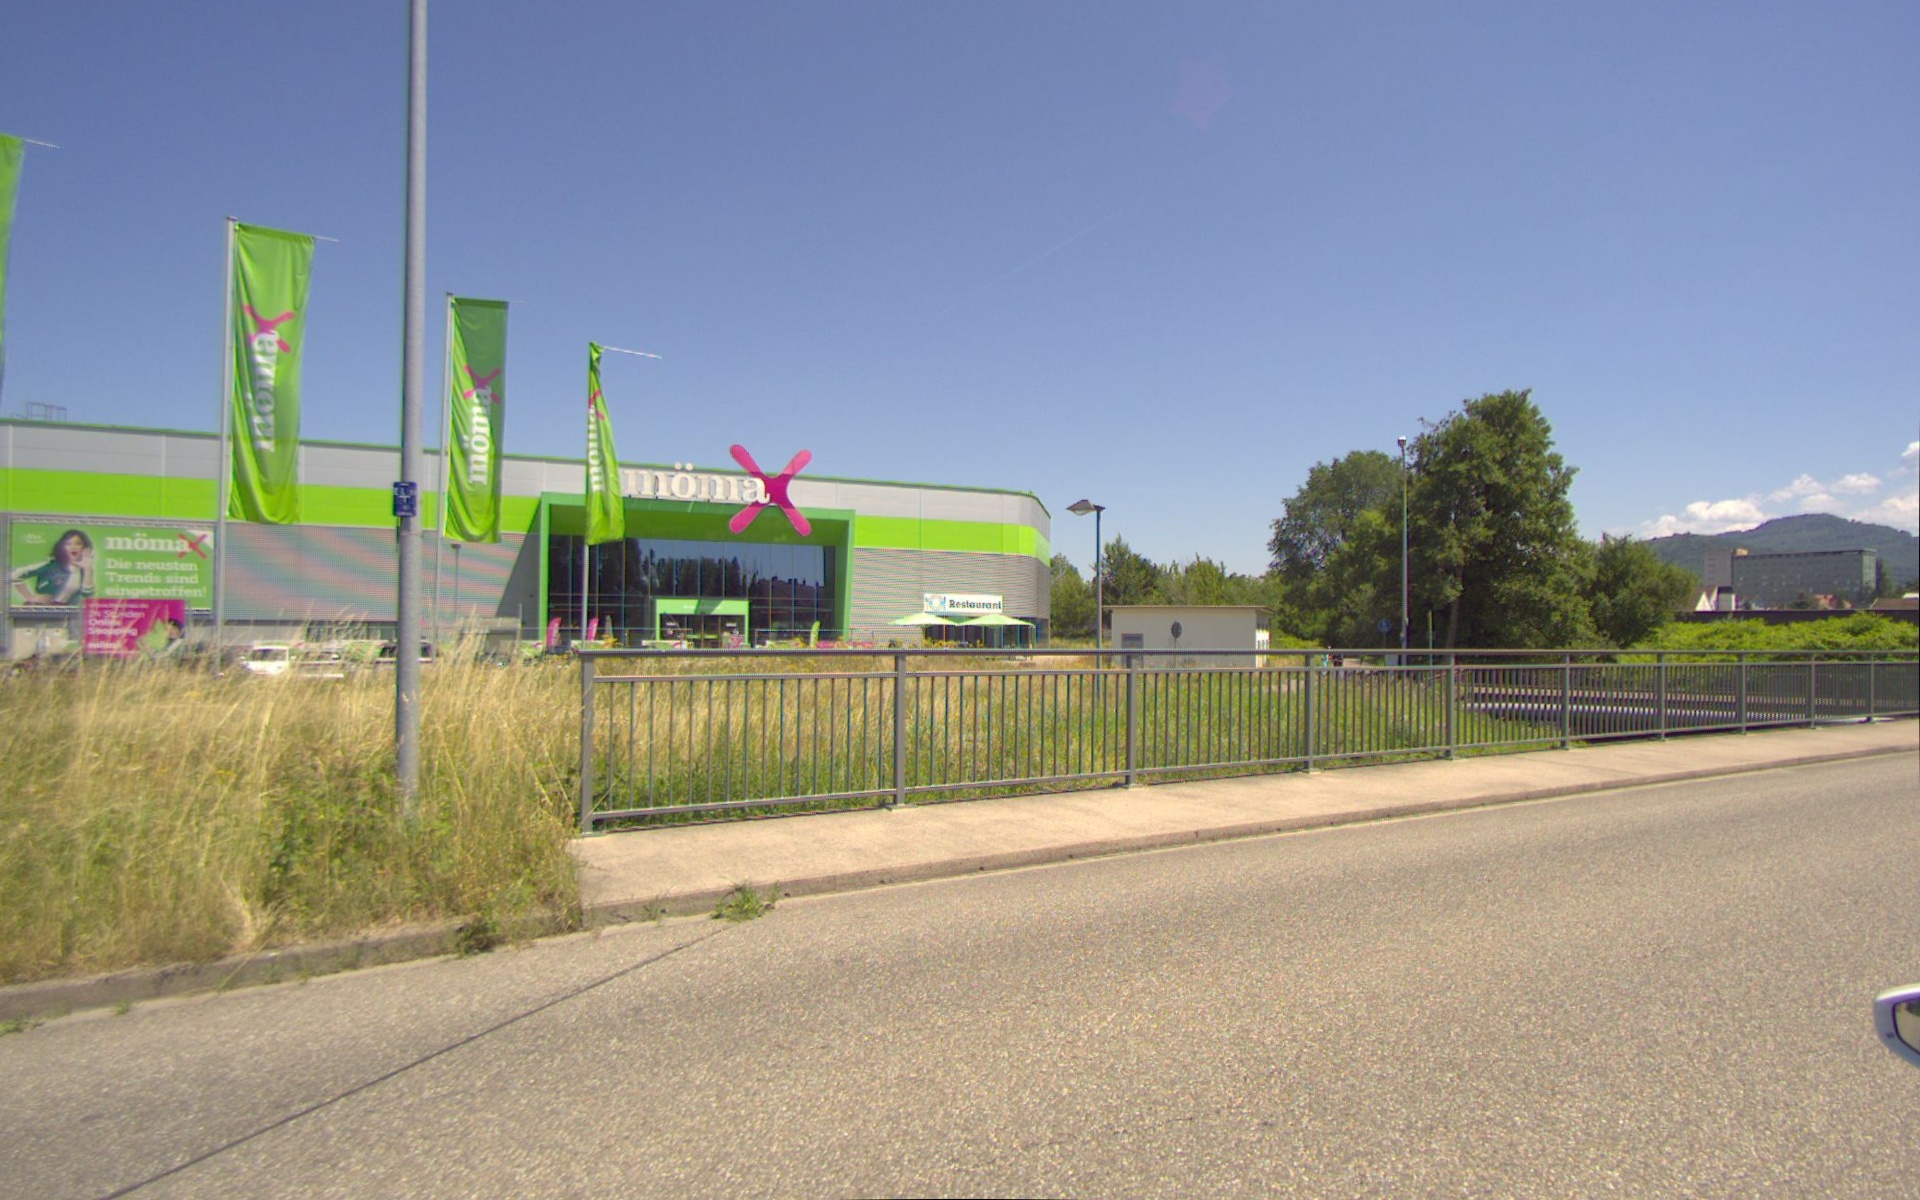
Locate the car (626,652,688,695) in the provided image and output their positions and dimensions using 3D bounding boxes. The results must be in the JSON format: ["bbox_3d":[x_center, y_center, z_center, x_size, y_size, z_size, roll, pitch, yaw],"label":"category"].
[{"bbox_3d":[-13.195,3.149,43.644,1.974,1.533,3.973,1,1,-26],"label":"car"}]

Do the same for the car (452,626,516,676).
[{"bbox_3d":[-17.093,1.763,36.073,1.974,1.533,3.973,1,1,-26],"label":"car"}]

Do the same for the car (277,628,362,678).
[{"bbox_3d":[-21.767,1.755,34.272,1.974,1.428,3.973,1,1,-26],"label":"car"}]

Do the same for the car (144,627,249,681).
[{"bbox_3d":[-24.640,1.701,32.574,1.974,1.463,3.973,1,1,-26],"label":"car"}]

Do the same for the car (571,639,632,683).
[{"bbox_3d":[-15.173,2.533,42.428,1.974,1.533,3.973,1,1,-26],"label":"car"}]

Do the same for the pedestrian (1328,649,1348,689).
[{"bbox_3d":[16.980,3.090,45.096,0.619,1.696,0.595,3,0,39],"label":"pedestrian"}]

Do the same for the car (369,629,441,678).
[{"bbox_3d":[-19.229,1.790,34.945,1.974,1.435,3.973,1,1,-26],"label":"car"}]

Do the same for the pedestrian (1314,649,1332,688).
[{"bbox_3d":[16.350,3.066,45.267,0.507,1.696,0.626,3,0,38],"label":"pedestrian"}]

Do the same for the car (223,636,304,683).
[{"bbox_3d":[-26.726,2.236,38.680,1.974,1.533,3.973,1,1,-26],"label":"car"}]

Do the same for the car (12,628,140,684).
[{"bbox_3d":[-27.025,1.656,30.868,1.974,1.449,3.973,1,1,-26],"label":"car"}]

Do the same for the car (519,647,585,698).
[{"bbox_3d":[-15.109,2.629,37.108,1.974,1.533,3.973,1,1,-26],"label":"car"}]

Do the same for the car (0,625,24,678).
[{"bbox_3d":[-30.003,1.587,29.950,1.974,1.533,3.973,1,1,-26],"label":"car"}]
